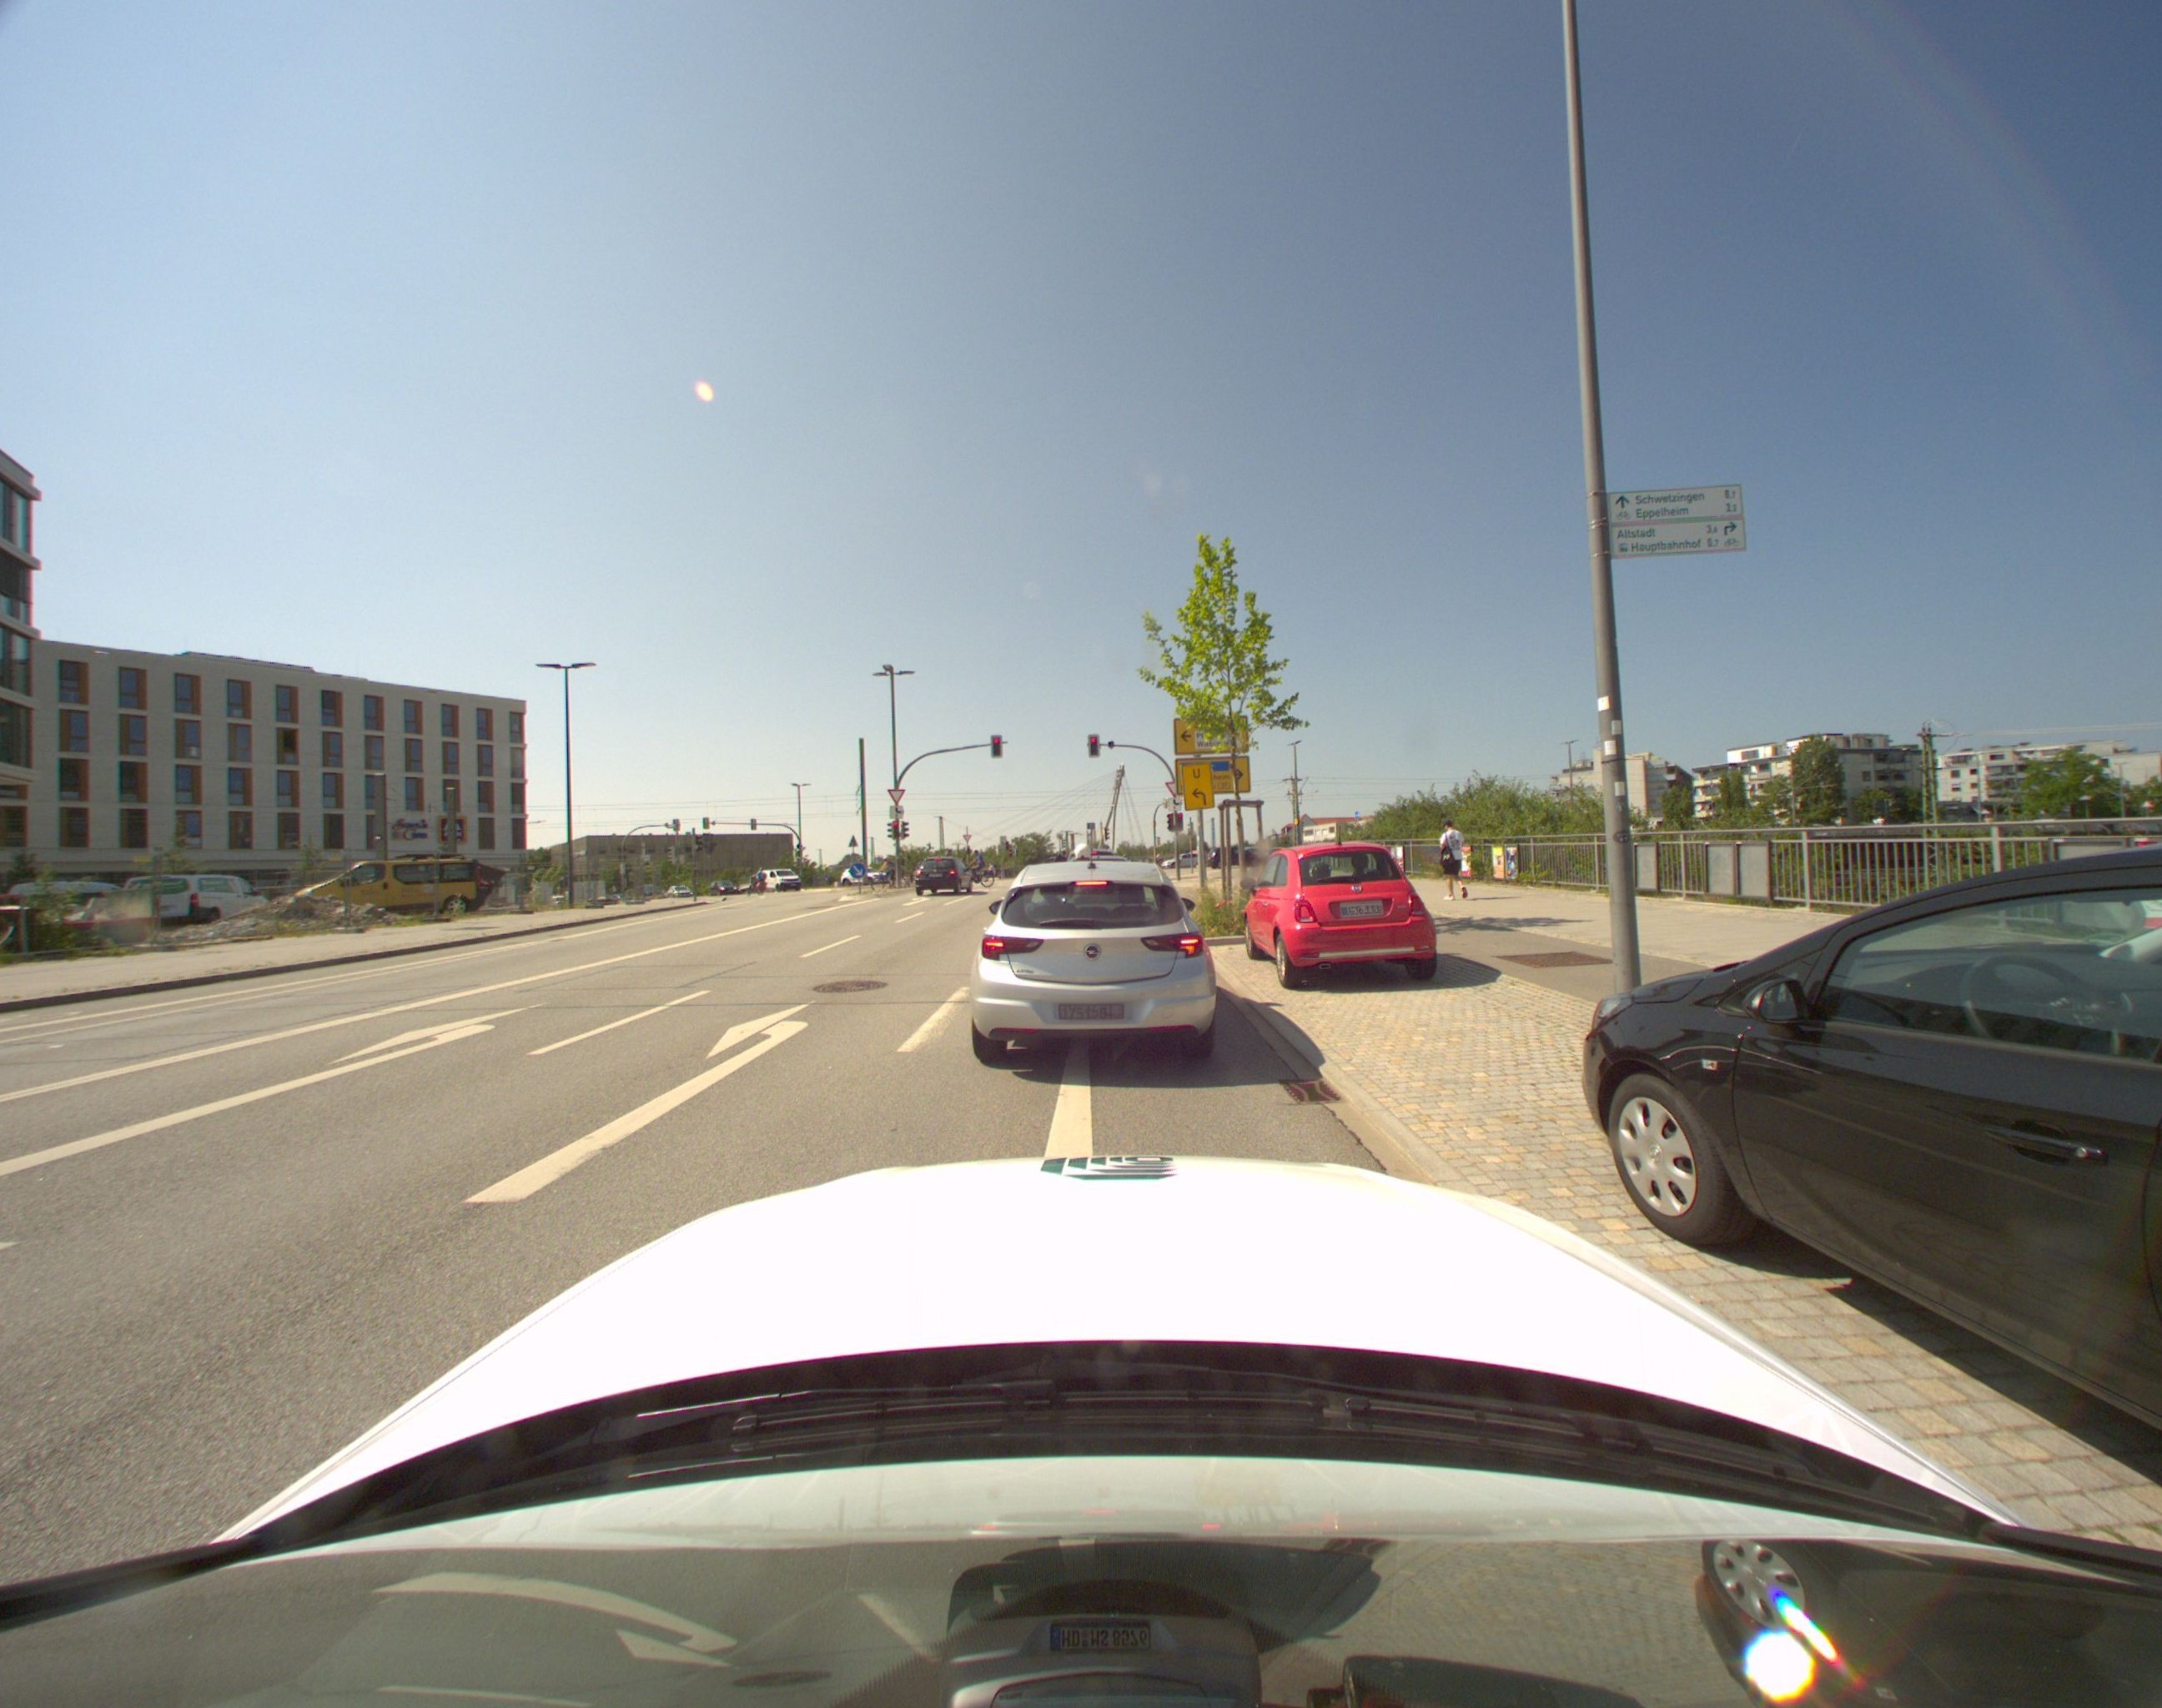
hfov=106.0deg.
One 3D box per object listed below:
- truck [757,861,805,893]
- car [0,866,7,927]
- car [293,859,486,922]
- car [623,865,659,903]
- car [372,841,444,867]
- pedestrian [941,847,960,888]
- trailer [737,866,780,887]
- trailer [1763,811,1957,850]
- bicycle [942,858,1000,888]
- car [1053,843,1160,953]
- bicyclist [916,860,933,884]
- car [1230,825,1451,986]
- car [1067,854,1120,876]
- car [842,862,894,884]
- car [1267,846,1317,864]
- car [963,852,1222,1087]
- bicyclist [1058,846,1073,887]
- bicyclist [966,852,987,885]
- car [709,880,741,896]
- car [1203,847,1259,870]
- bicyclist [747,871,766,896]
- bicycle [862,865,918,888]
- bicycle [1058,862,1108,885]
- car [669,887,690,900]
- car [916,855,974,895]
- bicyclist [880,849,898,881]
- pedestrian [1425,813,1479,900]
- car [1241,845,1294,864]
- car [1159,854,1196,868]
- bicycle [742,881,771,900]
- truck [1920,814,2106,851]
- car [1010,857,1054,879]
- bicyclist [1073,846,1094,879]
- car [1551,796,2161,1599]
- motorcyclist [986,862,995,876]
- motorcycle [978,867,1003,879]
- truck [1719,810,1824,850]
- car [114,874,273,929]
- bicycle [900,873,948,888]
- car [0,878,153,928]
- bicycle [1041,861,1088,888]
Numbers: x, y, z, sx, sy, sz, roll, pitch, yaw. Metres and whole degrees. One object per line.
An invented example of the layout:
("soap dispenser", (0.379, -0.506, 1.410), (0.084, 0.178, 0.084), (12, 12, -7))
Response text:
("truck", (-25.237, 1.890, 68.425), (2.012, 2.540, 4.650), (0, -1, -45))
("car", (-36.233, 1.388, 25.094), (2.220, 2.056, 4.133), (0, -1, -28))
("car", (-22.468, 1.124, 26.627), (1.974, 1.890, 4.514), (-1, -1, 40))
("car", (-24.112, 1.599, 44.733), (1.679, 2.014, 3.964), (0, -1, -27))
("car", (-54.343, 0.021, 65.829), (3.990, 2.014, 1.992), (0, -1, -12))
("pedestrian", (-6.009, 0.617, 37.558), (0.738, 1.863, 0.753), (0, -1, -2))
("trailer", (-28.281, 1.967, 71.470), (2.011, 1.776, 4.233), (1, -1, -45))
("trailer", (68.147, -1.957, 71.205), (17.225, 3.204, 3.723), (0, -1, -14))
("bicycle", (-5.262, 0.910, 38.963), (2.513, 1.134, 0.729), (-6, 2, 4))
("car", (0.427, 0.699, 14.266), (1.629, 1.674, 3.745), (0, -1, 1))
("bicyclist", (-7.584, 0.873, 39.555), (0.654, 1.175, 0.731), (0, -1, 3))
("car", (2.973, 0.546, 10.182), (1.662, 1.540, 3.920), (-3, -1, 4))
("car", (0.989, 0.862, 62.813), (3.958, 1.551, 1.676), (-2, -1, 2))
("car", (-17.702, 1.565, 67.740), (3.994, 1.815, 1.944), (-1, -1, 32))
("car", (20.135, 0.130, 77.800), (4.254, 1.673, 1.989), (-1, -1, -16))
("car", (0.121, 0.770, 7.512), (1.684, 1.520, 4.271), (-1, 0, 1))
("bicyclist", (-0.699, 0.569, 37.137), (0.591, 1.887, 0.637), (0, -1, 3))
("bicyclist", (-4.991, 0.680, 38.948), (0.818, 1.560, 0.864), (0, -1, 4))
("car", (-33.663, 3.171, 76.988), (1.675, 1.390, 3.742), (1, -1, -41))
("car", (11.158, 0.349, 60.730), (3.738, 1.583, 1.812), (-1, -1, -3))
("bicyclist", (-19.944, 1.785, 50.080), (0.711, 1.504, 0.829), (-2, -1, 39))
("bicycle", (-9.080, 1.058, 38.733), (2.494, 1.007, 0.605), (-1, -1, 2))
("bicycle", (0.105, 0.942, 39.439), (2.346, 1.127, 0.678), (0, -1, 5))
("car", (-42.273, 4.156, 85.708), (1.287, 1.240, 2.453), (0, -1, -45))
("car", (-5.184, 0.785, 31.332), (1.581, 1.395, 3.340), (-2, -1, 1))
("bicyclist", (-9.126, 0.540, 38.736), (0.654, 1.502, 0.844), (0, -1, 3))
("pedestrian", (8.036, 0.054, 17.668), (0.755, 1.830, 0.885), (0, -1, 1))
("car", (14.724, 0.016, 64.397), (3.783, 1.362, 1.530), (-2, 0, -4))
("car", (9.181, 0.692, 77.470), (3.212, 1.304, 1.518), (0, -1, -10))
("bicycle", (-19.976, 2.209, 50.087), (2.296, 1.133, 0.641), (-2, -1, 40))
("truck", (87.369, -1.955, 76.315), (17.857, 3.204, 3.723), (0, -1, -14))
("car", (-4.608, 1.348, 76.752), (3.970, 2.014, 2.001), (0, -1, 3))
("bicyclist", (0.135, 0.411, 39.409), (0.940, 1.569, 0.824), (0, -1, 6))
("car", (2.880, 0.644, 1.819), (1.576, 1.555, 3.548), (-4, 0, 1))
("motorcyclist", (-9.276, 1.525, 83.814), (0.806, 1.476, 0.885), (0, -1, 1))
("motorcycle", (-9.313, 1.936, 83.784), (2.528, 1.233, 0.648), (0, -1, 0))
("truck", (58.299, -1.948, 68.826), (6.478, 3.204, 3.721), (0, -1, -14))
("car", (-31.011, 1.603, 28.681), (2.003, 1.707, 4.526), (0, -1, -23))
("bicycle", (-7.622, 1.294, 39.553), (2.237, 0.692, 0.516), (-1, -1, 2))
("car", (-33.630, 1.583, 27.392), (1.809, 1.508, 3.965), (0, -1, -27))
("bicycle", (-0.757, 0.928, 37.126), (2.072, 1.178, 0.556), (-1, -1, 2))
